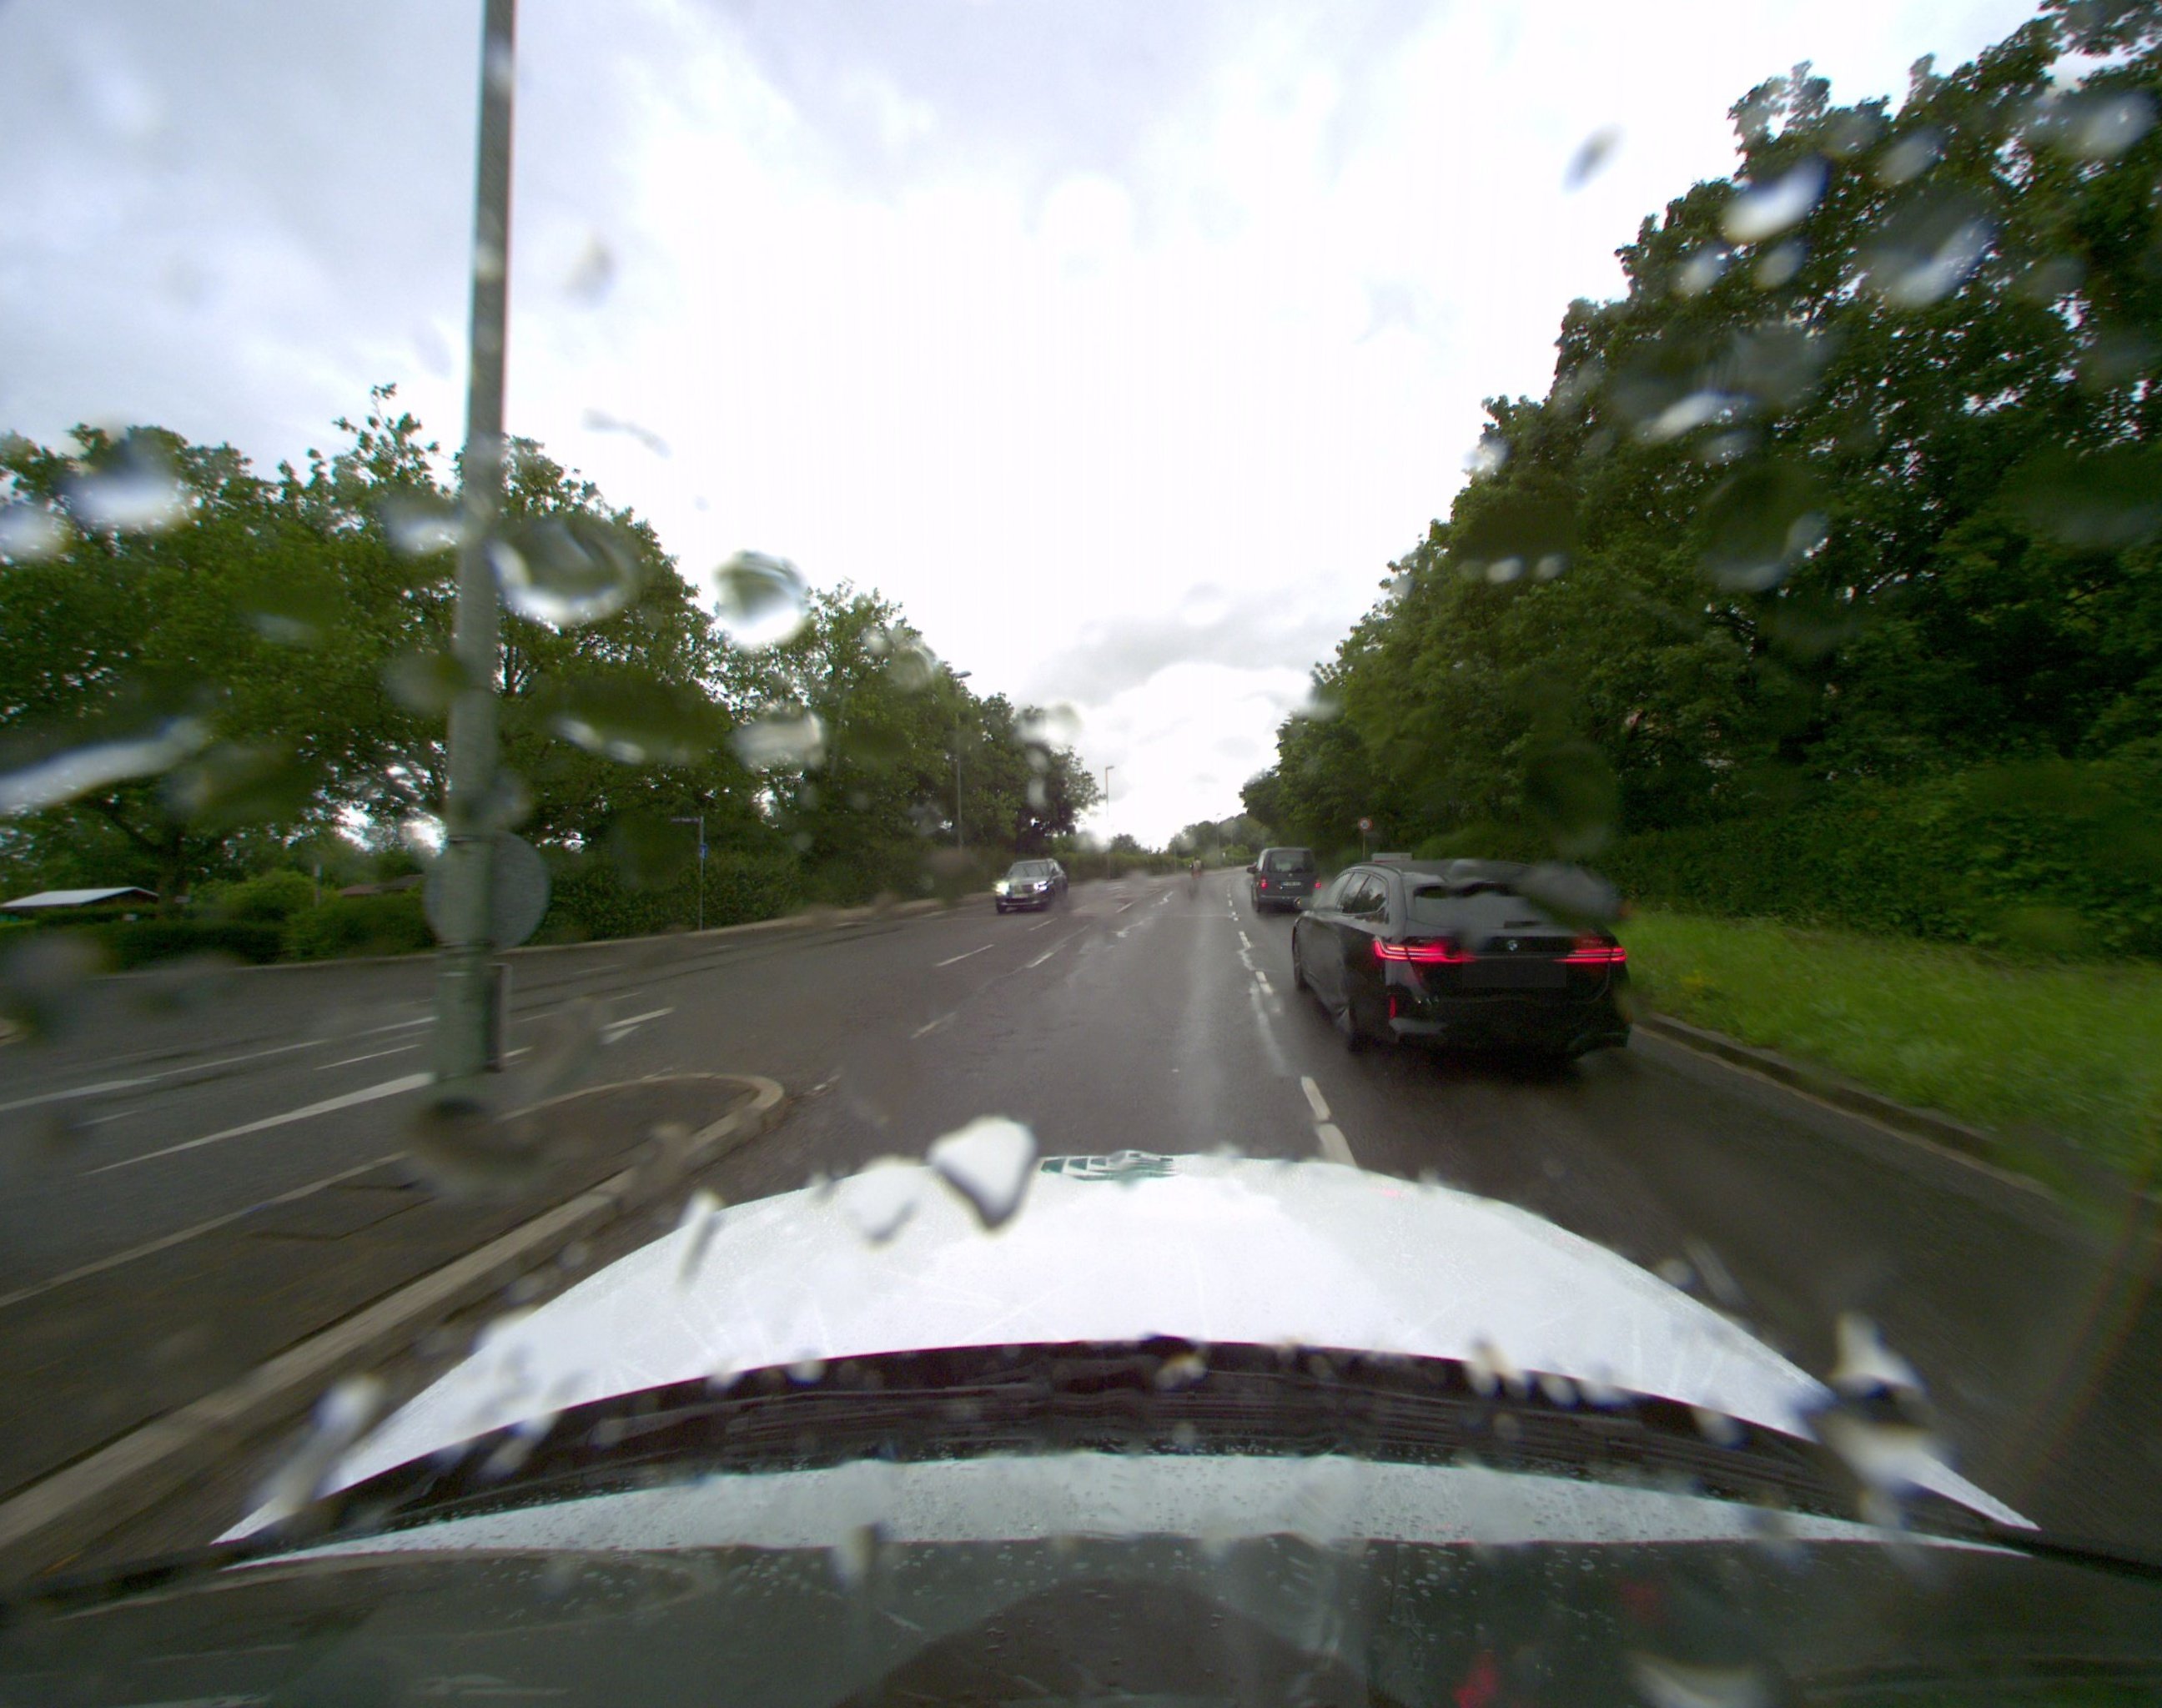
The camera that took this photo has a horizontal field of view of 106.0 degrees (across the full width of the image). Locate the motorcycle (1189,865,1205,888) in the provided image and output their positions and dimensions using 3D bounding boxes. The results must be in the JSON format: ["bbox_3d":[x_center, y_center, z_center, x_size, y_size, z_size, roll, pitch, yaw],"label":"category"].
[{"bbox_3d":[5.760,1.102,40.271,0.737,1.119,1.430,0,1,10],"label":"motorcycle"}]

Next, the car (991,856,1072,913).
[{"bbox_3d":[-1.486,0.907,25.928,1.785,1.603,3.740,-3,0,8],"label":"car"}]

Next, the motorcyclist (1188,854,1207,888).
[{"bbox_3d":[5.758,0.837,40.220,0.840,1.647,0.469,-1,0,9],"label":"motorcyclist"}]

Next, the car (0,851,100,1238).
[{"bbox_3d":[-5.648,0.817,1.813,2.013,1.563,3.886,-3,-1,9],"label":"car"}]

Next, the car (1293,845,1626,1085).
[{"bbox_3d":[2.931,0.728,7.168,1.753,1.536,3.683,-1,0,10],"label":"car"}]

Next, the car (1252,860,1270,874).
[{"bbox_3d":[20.997,1.530,95.133,2.001,1.415,4.502,-1,1,13],"label":"car"}]

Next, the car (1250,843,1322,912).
[{"bbox_3d":[5.897,0.618,23.796,1.756,1.810,3.916,-1,1,10],"label":"car"}]
